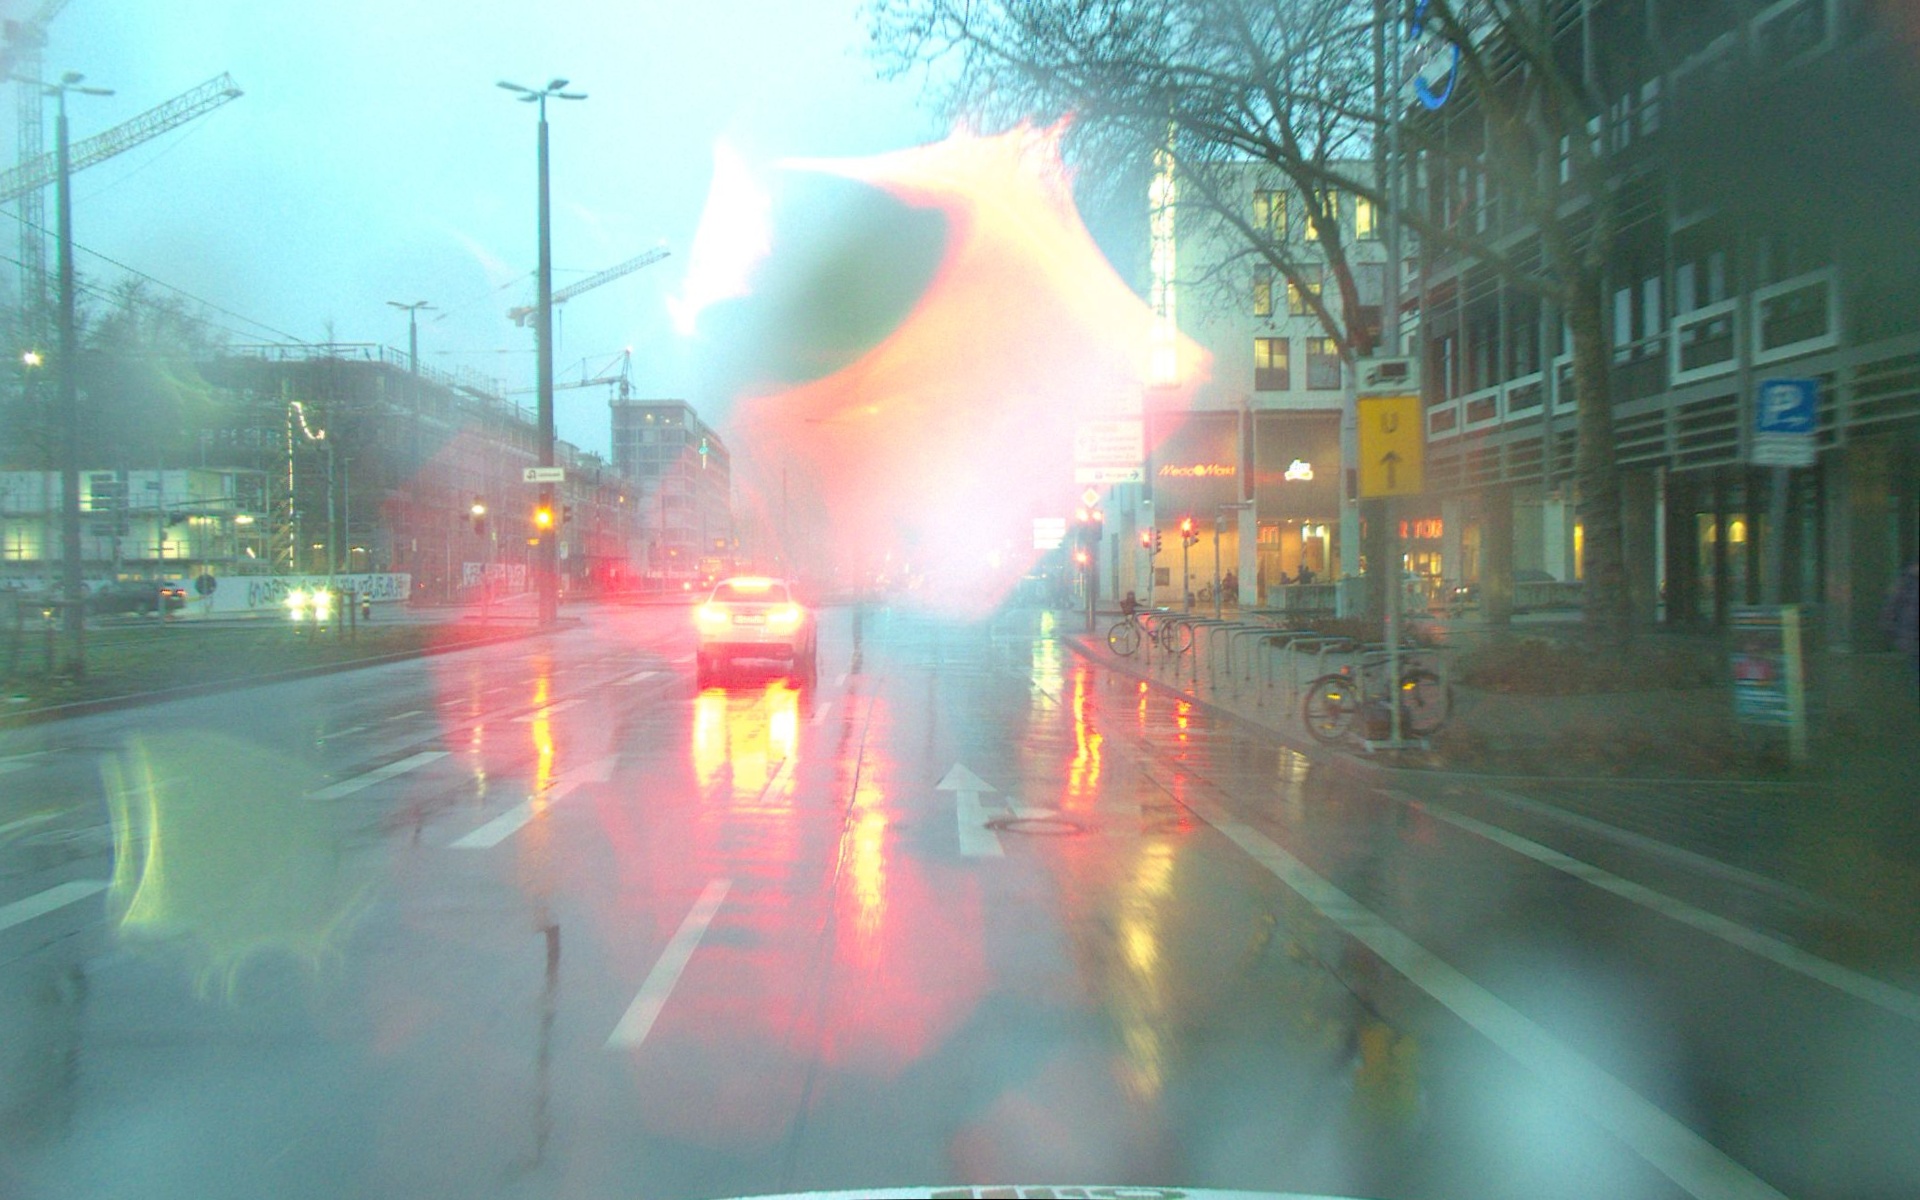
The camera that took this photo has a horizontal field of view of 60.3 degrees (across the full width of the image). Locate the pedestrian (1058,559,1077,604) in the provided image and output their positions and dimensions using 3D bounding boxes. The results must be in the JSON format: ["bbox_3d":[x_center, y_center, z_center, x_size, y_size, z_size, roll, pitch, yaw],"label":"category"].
[{"bbox_3d":[5.182,-0.894,79.607,0.681,2.124,0.604,-1,0,-40],"label":"pedestrian"}]

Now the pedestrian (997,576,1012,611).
[{"bbox_3d":[2.149,-0.311,79.681,0.692,1.647,0.613,-1,0,-2],"label":"pedestrian"}]

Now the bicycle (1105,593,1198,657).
[{"bbox_3d":[3.749,0.480,32.387,1.716,1.168,0.435,-3,0,-5],"label":"bicycle"}]

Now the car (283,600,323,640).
[{"bbox_3d":[-36.009,1.071,90.707,1.729,2.049,3.979,-1,1,-18],"label":"car"}]

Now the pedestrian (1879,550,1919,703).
[{"bbox_3d":[10.126,0.268,17.331,0.634,1.571,0.615,-1,0,1],"label":"pedestrian"}]

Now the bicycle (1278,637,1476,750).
[{"bbox_3d":[4.066,0.906,16.195,1.752,0.991,0.617,-2,0,-5],"label":"bicycle"}]

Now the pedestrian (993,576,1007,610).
[{"bbox_3d":[1.961,-0.336,80.925,0.692,1.647,0.680,-1,0,1],"label":"pedestrian"}]

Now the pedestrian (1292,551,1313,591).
[{"bbox_3d":[13.912,-1.183,67.182,0.764,1.623,0.613,-1,0,15],"label":"pedestrian"}]

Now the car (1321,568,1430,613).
[{"bbox_3d":[17.525,-0.401,69.862,4.213,1.792,1.708,-1,1,3],"label":"car"}]

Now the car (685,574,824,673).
[{"bbox_3d":[-3.467,0.342,28.707,1.871,1.547,4.923,-1,1,-1],"label":"car"}]

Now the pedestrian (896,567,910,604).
[{"bbox_3d":[-2.848,-0.720,82.556,0.688,1.791,0.667,-1,0,0],"label":"pedestrian"}]

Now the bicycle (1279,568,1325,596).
[{"bbox_3d":[13.900,-0.743,67.196,1.806,1.112,0.618,-1,0,15],"label":"bicycle"}]

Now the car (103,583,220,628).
[{"bbox_3d":[-33.679,0.208,69.847,1.960,1.780,3.984,0,1,36],"label":"car"}]
